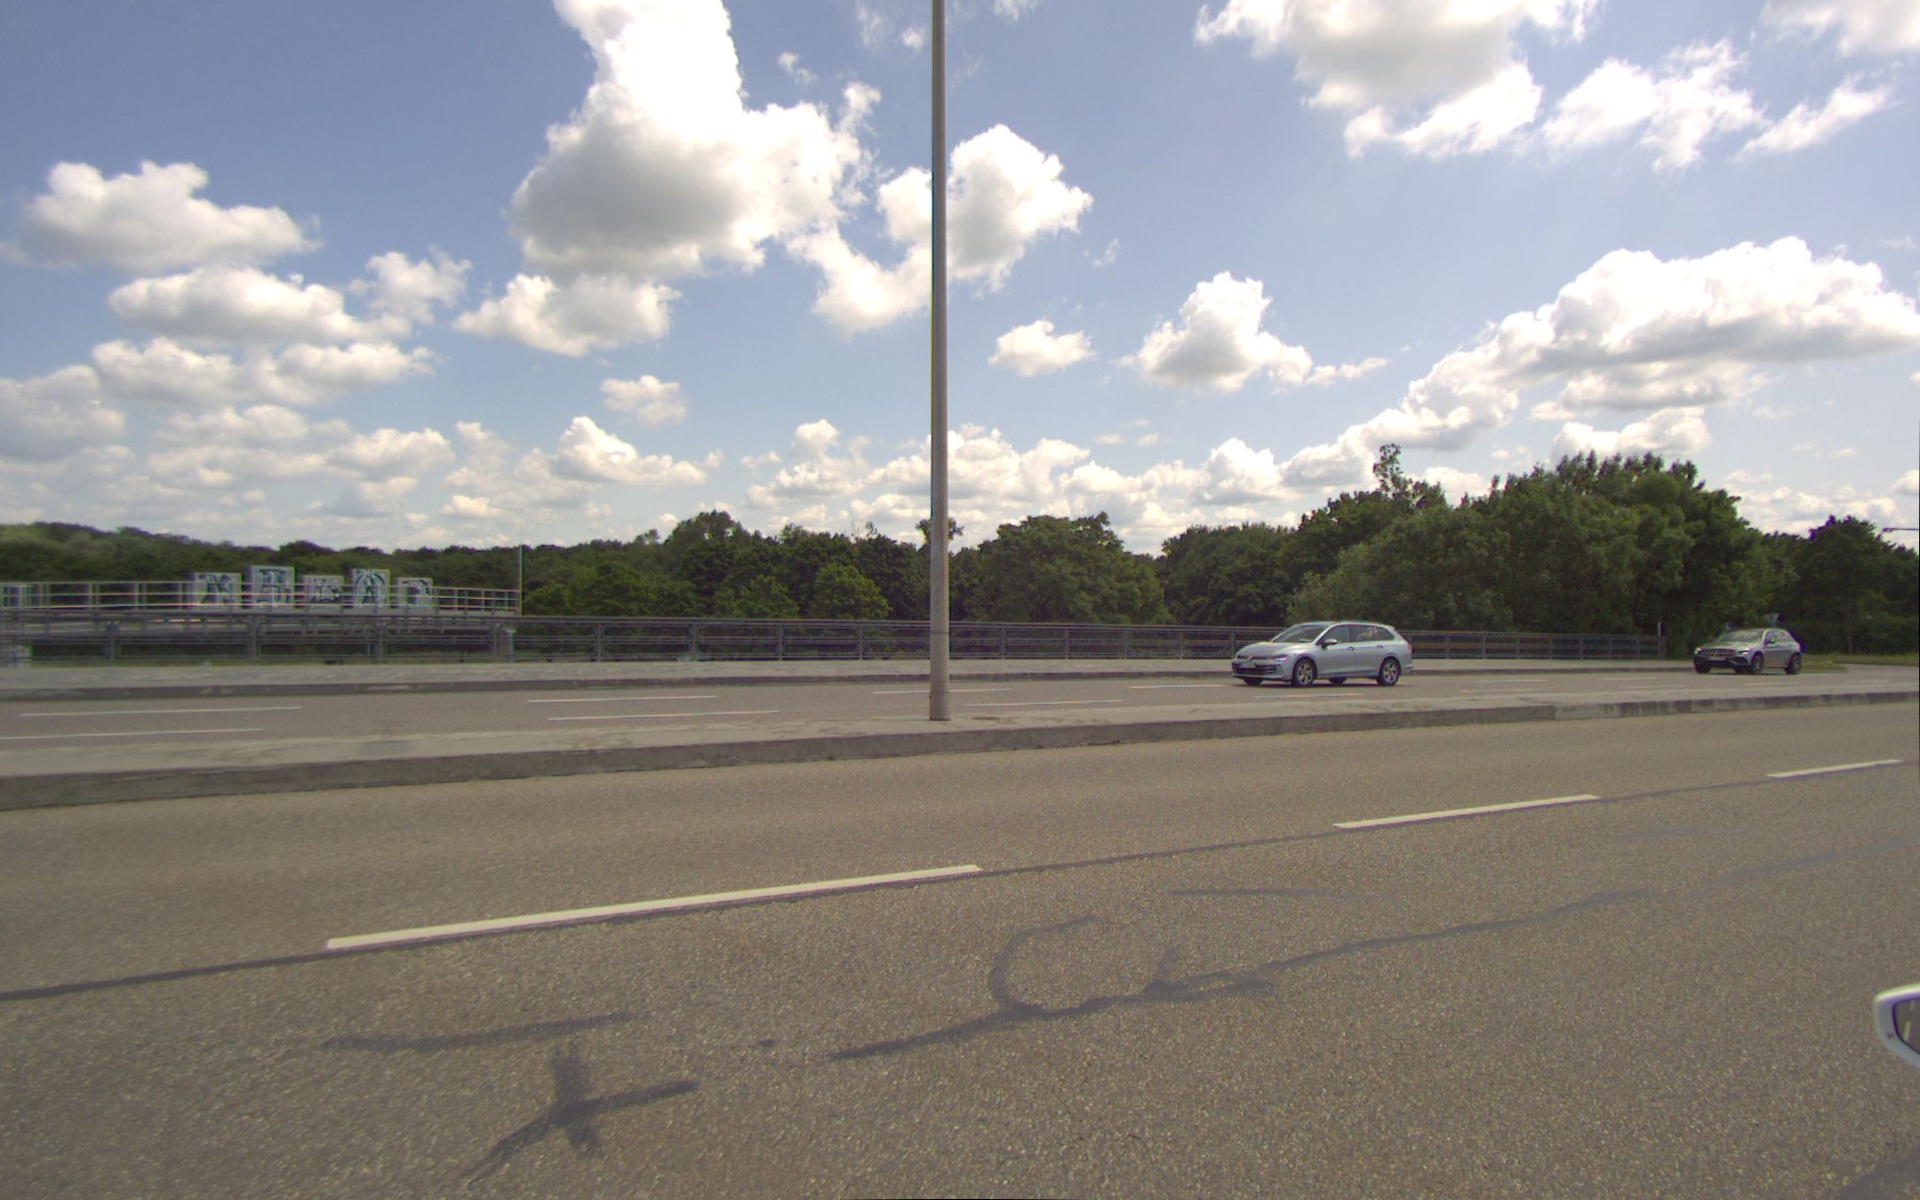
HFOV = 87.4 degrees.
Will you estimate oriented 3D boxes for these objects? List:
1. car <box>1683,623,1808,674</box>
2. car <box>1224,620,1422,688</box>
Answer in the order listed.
[{"bbox_3d":[28.574,1.717,36.529,4.497,1.648,2.077,1,1,-31],"label":"car"},{"bbox_3d":[8.352,1.192,23.027,4.492,1.432,1.658,1,-3,-28],"label":"car"}]
